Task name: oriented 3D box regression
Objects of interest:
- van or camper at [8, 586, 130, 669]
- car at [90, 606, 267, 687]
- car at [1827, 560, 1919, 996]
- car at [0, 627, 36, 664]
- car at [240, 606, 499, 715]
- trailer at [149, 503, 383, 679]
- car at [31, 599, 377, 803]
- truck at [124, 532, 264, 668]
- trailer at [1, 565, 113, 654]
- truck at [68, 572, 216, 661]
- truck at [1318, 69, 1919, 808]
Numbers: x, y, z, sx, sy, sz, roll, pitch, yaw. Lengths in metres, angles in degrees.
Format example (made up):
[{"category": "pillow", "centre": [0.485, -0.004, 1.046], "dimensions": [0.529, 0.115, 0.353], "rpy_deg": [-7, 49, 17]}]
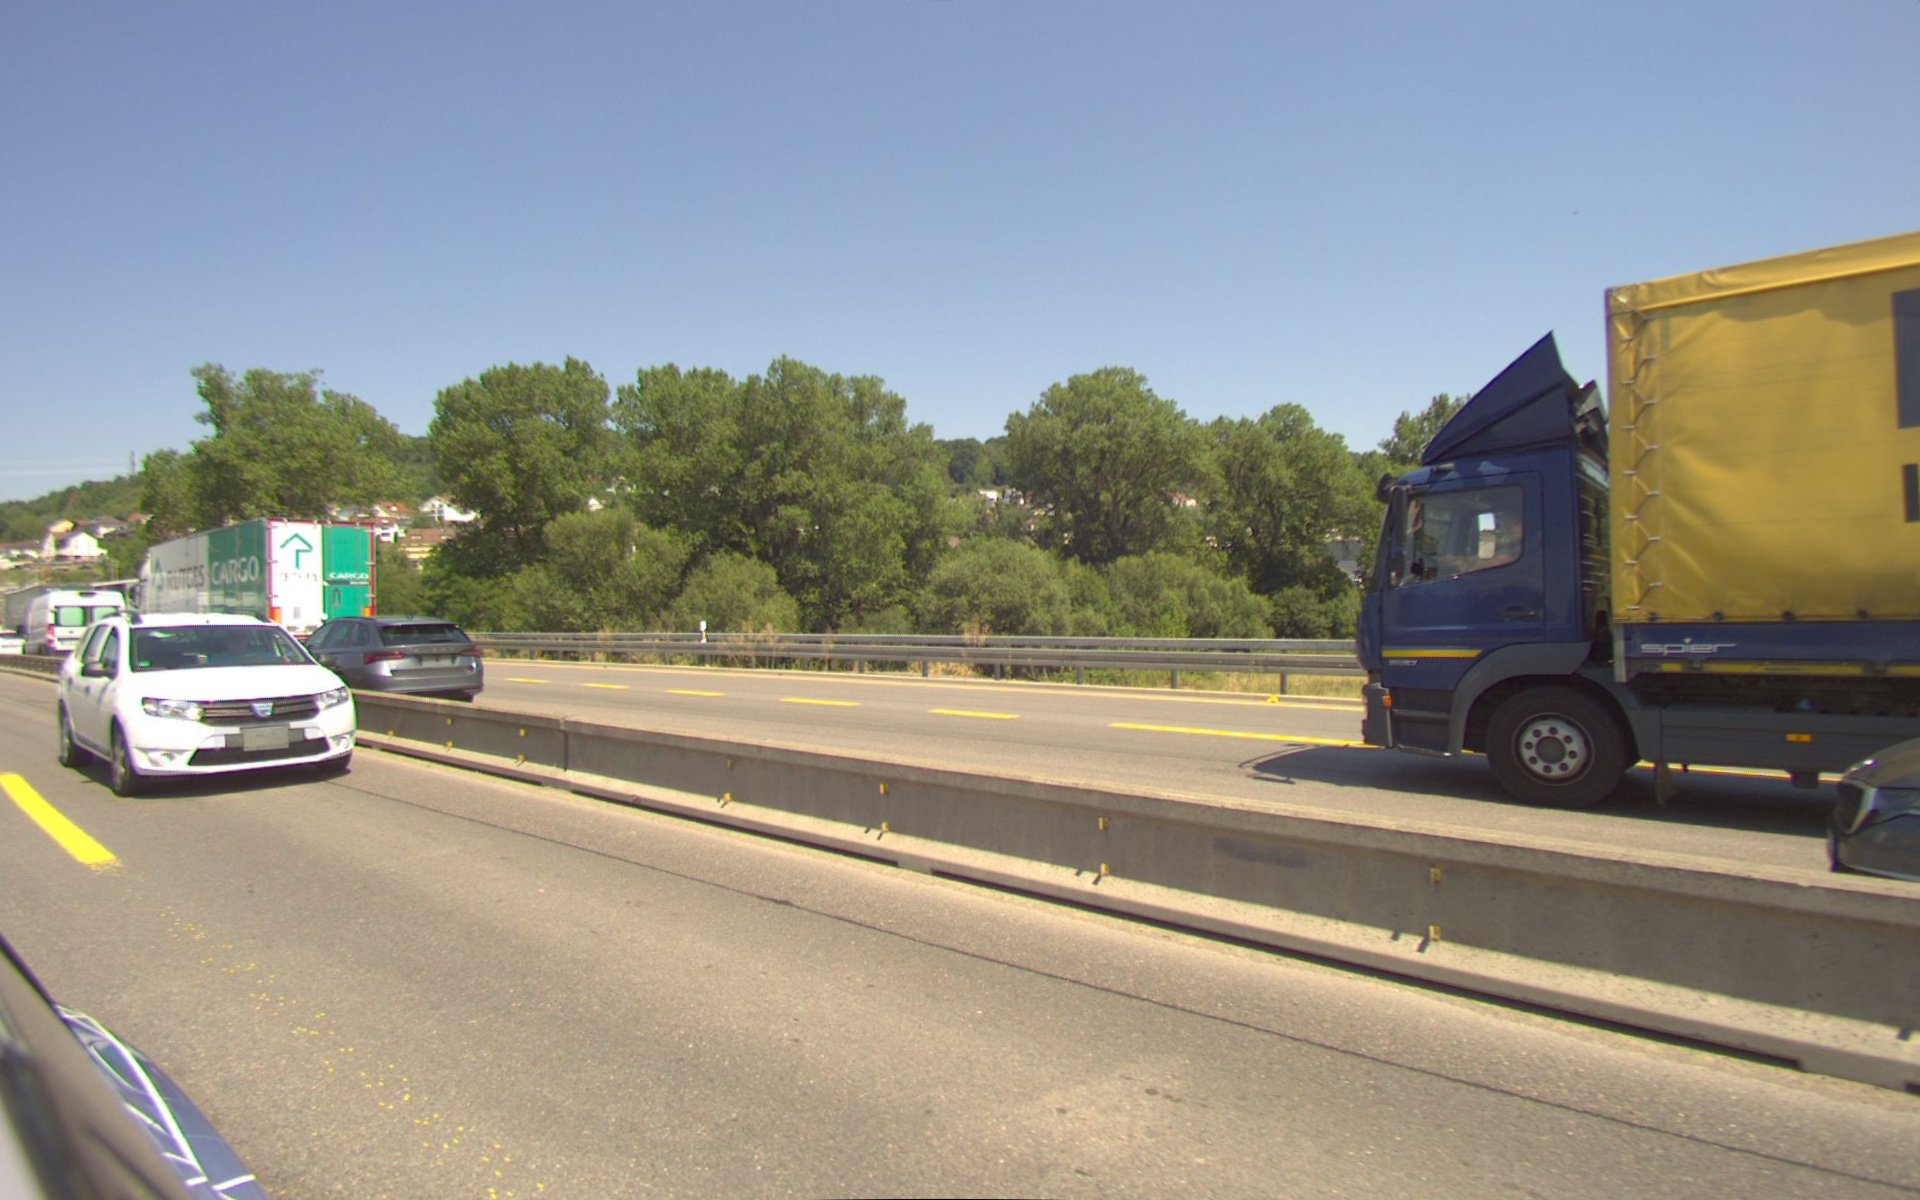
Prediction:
[{"category": "van or camper", "centre": [-30.058, 0.967, 34.045], "dimensions": [6.528, 2.531, 2.196], "rpy_deg": [-3, -2, 40]}, {"category": "car", "centre": [-19.409, 1.137, 25.019], "dimensions": [5.777, 1.739, 2.347], "rpy_deg": [-3, -1, 41]}, {"category": "car", "centre": [5.668, 0.603, 2.776], "dimensions": [4.899, 1.505, 1.840], "rpy_deg": [-1, -3, 39]}, {"category": "car", "centre": [-42.484, 2.043, 44.608], "dimensions": [4.971, 1.509, 1.973], "rpy_deg": [-3, -1, 41]}, {"category": "car", "centre": [-9.293, 0.874, 15.727], "dimensions": [5.121, 1.443, 1.863], "rpy_deg": [-1, -3, 40]}, {"category": "trailer", "centre": [-21.706, -0.097, 31.111], "dimensions": [13.161, 4.464, 2.786], "rpy_deg": [-2, -2, 41]}, {"category": "car", "centre": [-7.555, 0.842, 9.909], "dimensions": [4.704, 1.542, 1.800], "rpy_deg": [-2, -2, 41]}, {"category": "truck", "centre": [-27.422, 0.110, 36.133], "dimensions": [6.221, 4.426, 2.777], "rpy_deg": [-3, -2, 41]}, {"category": "trailer", "centre": [-50.713, 0.734, 56.653], "dimensions": [13.012, 4.499, 3.069], "rpy_deg": [-3, -3, 41]}, {"category": "truck", "centre": [-38.470, 0.843, 47.500], "dimensions": [8.341, 3.793, 2.882], "rpy_deg": [-3, -1, 33]}, {"category": "truck", "centre": [7.516, -0.914, 5.721], "dimensions": [10.074, 4.184, 2.773], "rpy_deg": [-1, -2, 41]}]
